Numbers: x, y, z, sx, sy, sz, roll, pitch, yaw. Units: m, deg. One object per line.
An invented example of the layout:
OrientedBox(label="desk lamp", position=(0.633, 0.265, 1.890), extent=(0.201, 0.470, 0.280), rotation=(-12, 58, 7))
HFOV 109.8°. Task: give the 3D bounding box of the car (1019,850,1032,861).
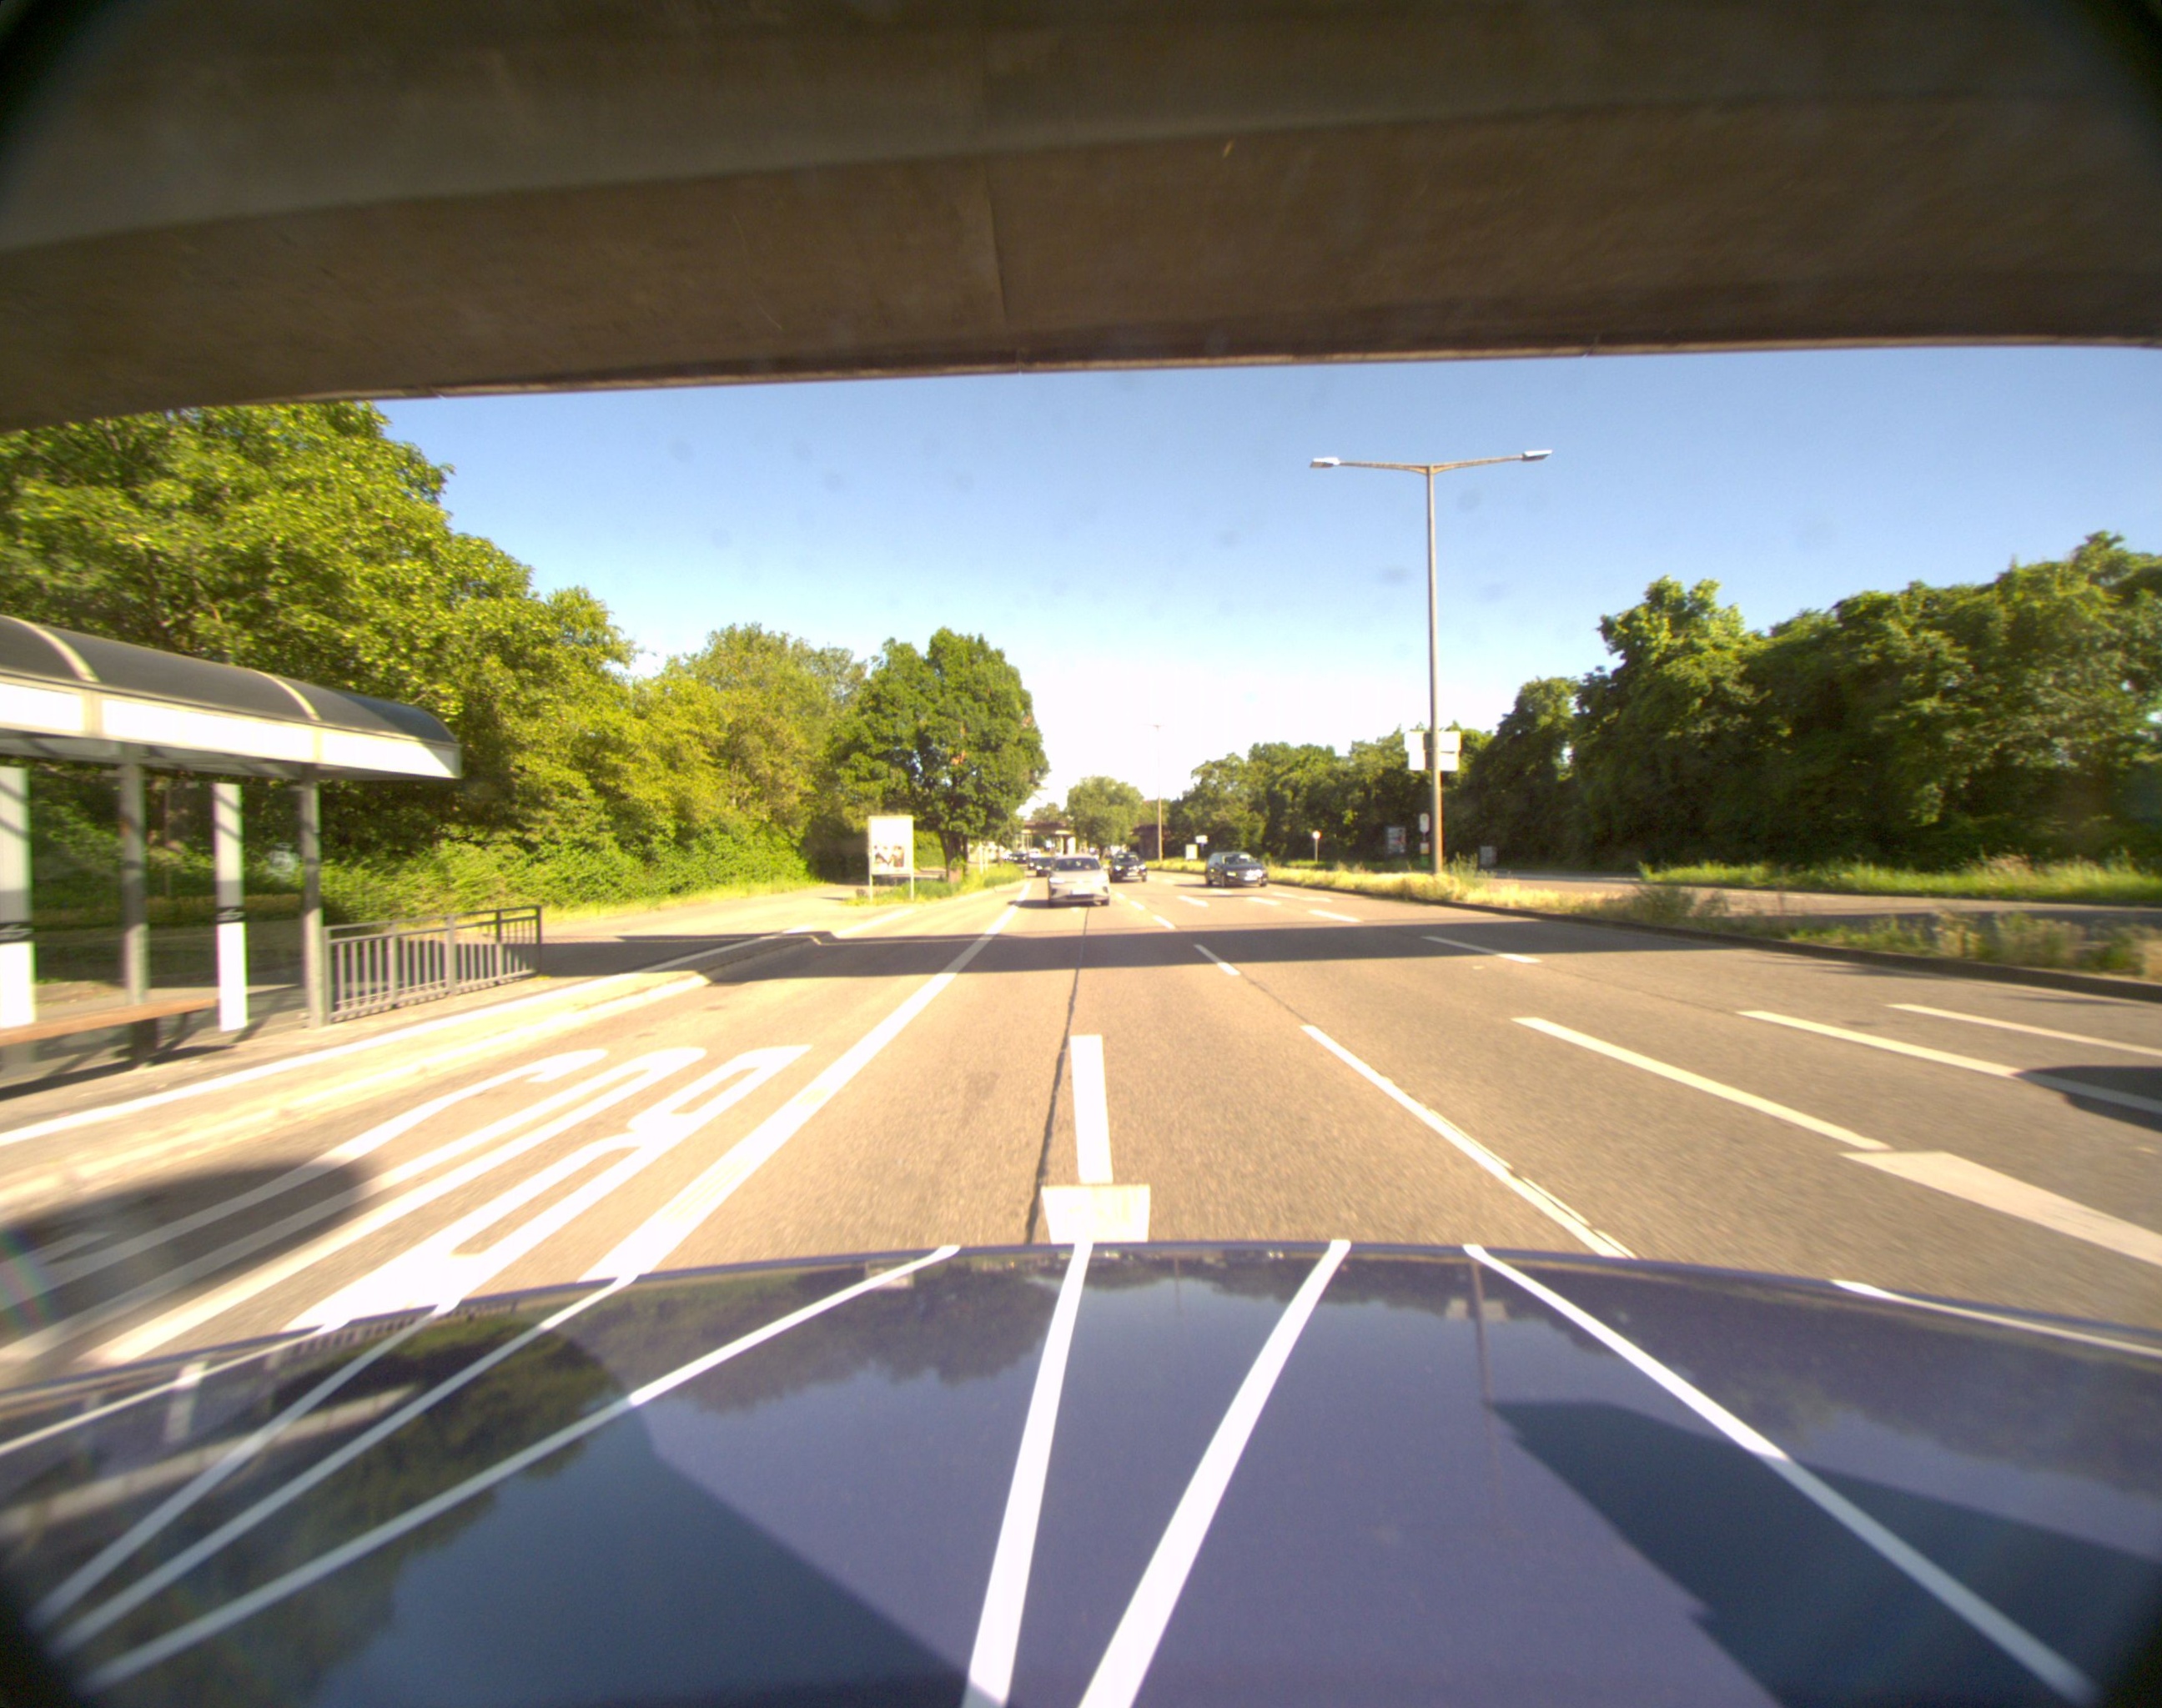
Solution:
OrientedBox(label="car", position=(-8.696, 0.180, 119.361), extent=(1.874, 1.611, 3.834), rotation=(-2, 0, -5))

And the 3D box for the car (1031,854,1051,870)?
OrientedBox(label="car", position=(-4.191, 0.787, 80.146), extent=(1.873, 1.611, 3.835), rotation=(-2, 0, -2))

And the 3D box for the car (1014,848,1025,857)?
OrientedBox(label="car", position=(-10.848, -0.283, 134.630), extent=(1.874, 1.611, 3.835), rotation=(-2, 0, -4))

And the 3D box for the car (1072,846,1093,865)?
OrientedBox(label="car", position=(0.132, 0.128, 73.050), extent=(1.714, 1.653, 3.855), rotation=(-3, 0, -4))

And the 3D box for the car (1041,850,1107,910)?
OrientedBox(label="car", position=(-0.135, 0.773, 24.364), extent=(1.801, 1.664, 4.240), rotation=(-3, 0, 3))

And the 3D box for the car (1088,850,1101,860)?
OrientedBox(label="car", position=(2.296, 0.140, 130.312), extent=(1.874, 1.611, 3.834), rotation=(-2, 0, -6))

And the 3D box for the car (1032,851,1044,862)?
OrientedBox(label="car", position=(-8.123, 0.412, 143.065), extent=(1.999, 2.002, 3.998), rotation=(-2, 0, -4))

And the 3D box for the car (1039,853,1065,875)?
OrientedBox(label="car", position=(-2.205, 0.752, 57.917), extent=(1.873, 1.611, 3.835), rotation=(-2, 0, -2))

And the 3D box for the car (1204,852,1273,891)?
OrientedBox(label="car", position=(6.619, 0.711, 32.266), extent=(1.796, 1.487, 4.000), rotation=(-2, 0, -4))

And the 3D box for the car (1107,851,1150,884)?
OrientedBox(label="car", position=(2.573, 0.727, 41.948), extent=(1.714, 1.653, 3.854), rotation=(-3, 0, -5))
